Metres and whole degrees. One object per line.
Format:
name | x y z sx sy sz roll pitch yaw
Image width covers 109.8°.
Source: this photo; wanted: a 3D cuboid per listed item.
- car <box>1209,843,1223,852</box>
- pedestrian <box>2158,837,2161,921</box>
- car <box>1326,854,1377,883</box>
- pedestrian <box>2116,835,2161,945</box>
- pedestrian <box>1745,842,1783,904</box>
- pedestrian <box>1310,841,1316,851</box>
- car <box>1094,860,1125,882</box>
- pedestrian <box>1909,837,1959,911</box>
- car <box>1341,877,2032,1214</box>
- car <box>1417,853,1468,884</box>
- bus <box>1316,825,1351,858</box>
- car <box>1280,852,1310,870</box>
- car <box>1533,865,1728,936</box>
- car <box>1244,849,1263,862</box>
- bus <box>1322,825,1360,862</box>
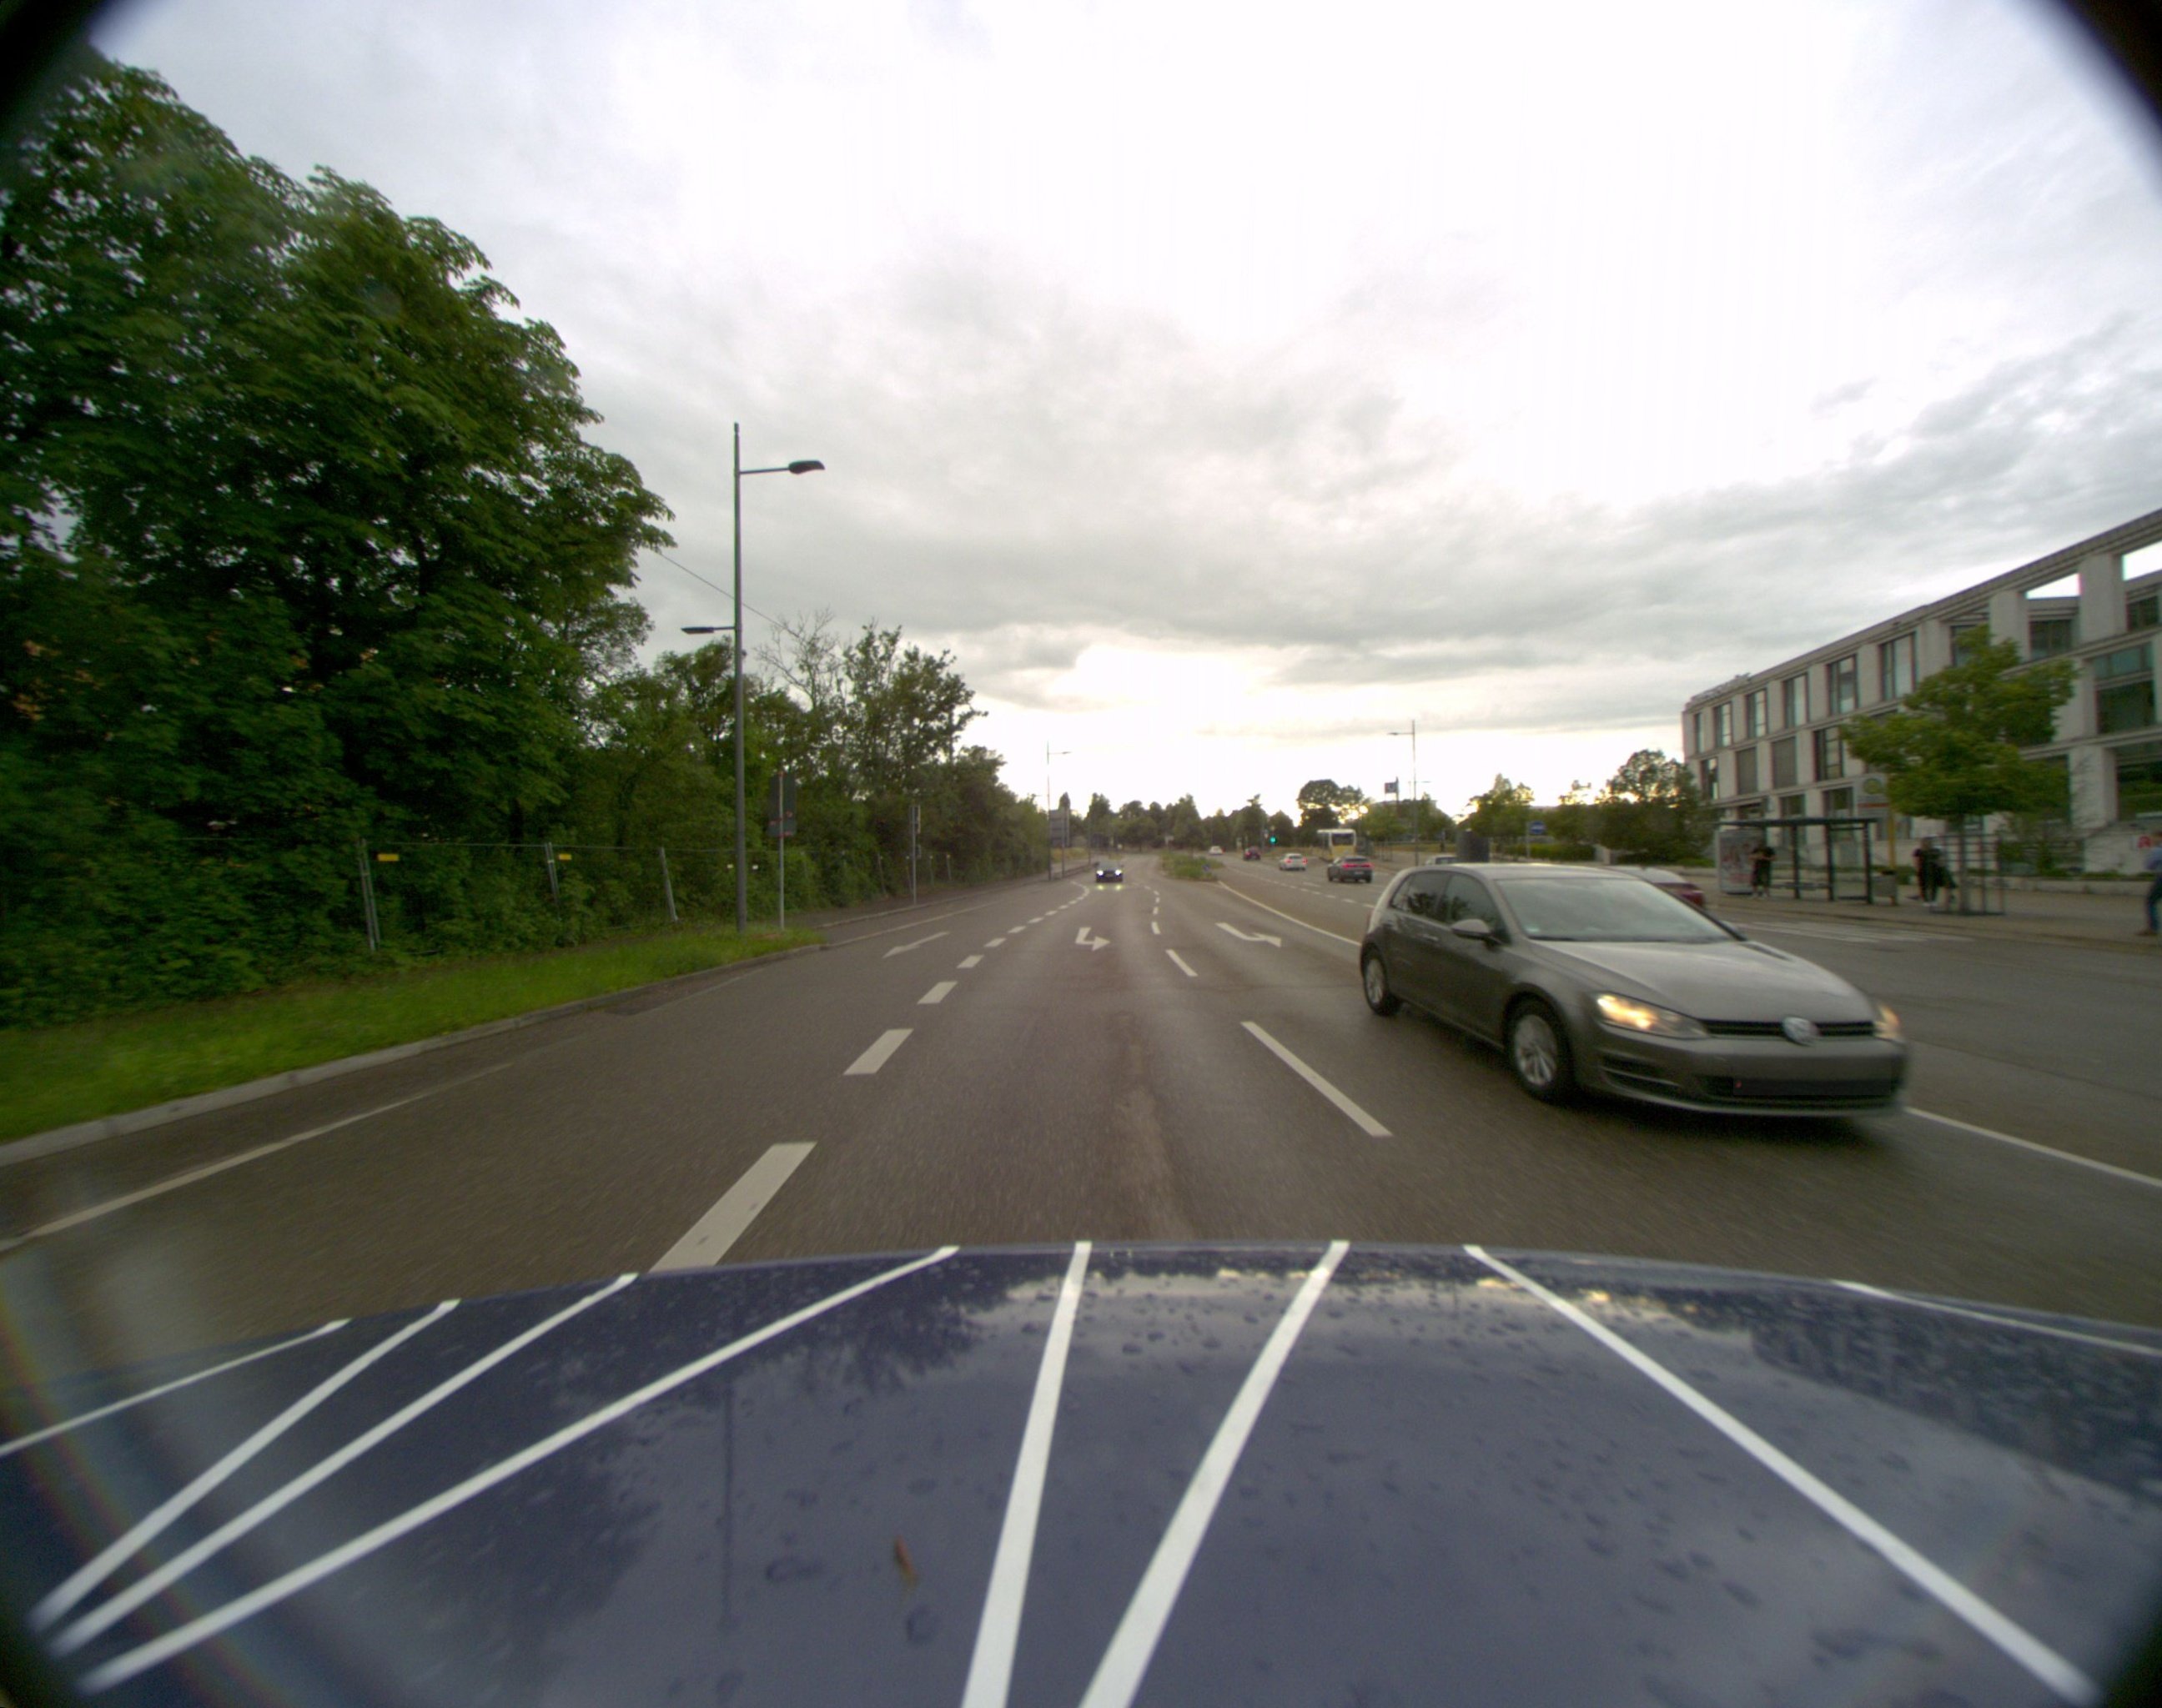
car | 23.100 -1.100 130.098 1.997 1.410 4.514 -2 1 6
pedestrian | 22.688 0.512 15.367 0.599 1.752 0.857 -1 1 9
car | 16.293 0.814 45.945 1.835 1.563 4.595 1 1 6
pedestrian | 18.432 0.598 12.874 0.754 1.831 0.747 -1 1 9
pedestrian | 20.587 0.557 22.915 0.508 1.831 0.756 -1 1 6
pedestrian | 35.018 -1.195 114.893 0.615 1.584 0.813 -2 -1 2
car | 1.914 1.129 51.743 1.989 1.391 4.177 -2 -1 2
pedestrian | 21.718 0.501 19.358 0.581 1.845 0.607 -1 1 4
car | 3.543 0.961 5.652 1.810 1.421 4.197 1 0 1
car | 19.716 0.774 41.542 1.617 1.499 2.973 -2 1 6
bus | 28.951 -1.508 87.515 2.826 3.453 9.981 -3 2 14
car | 18.812 0.573 67.052 1.877 1.422 4.177 1 1 6
car | 13.012 1.017 18.410 1.835 1.408 4.468 1 0 6
car | 21.296 0.172 93.686 1.850 1.454 3.868 0 1 6
bus | 26.801 -1.174 78.596 2.826 3.453 8.237 -3 2 14
